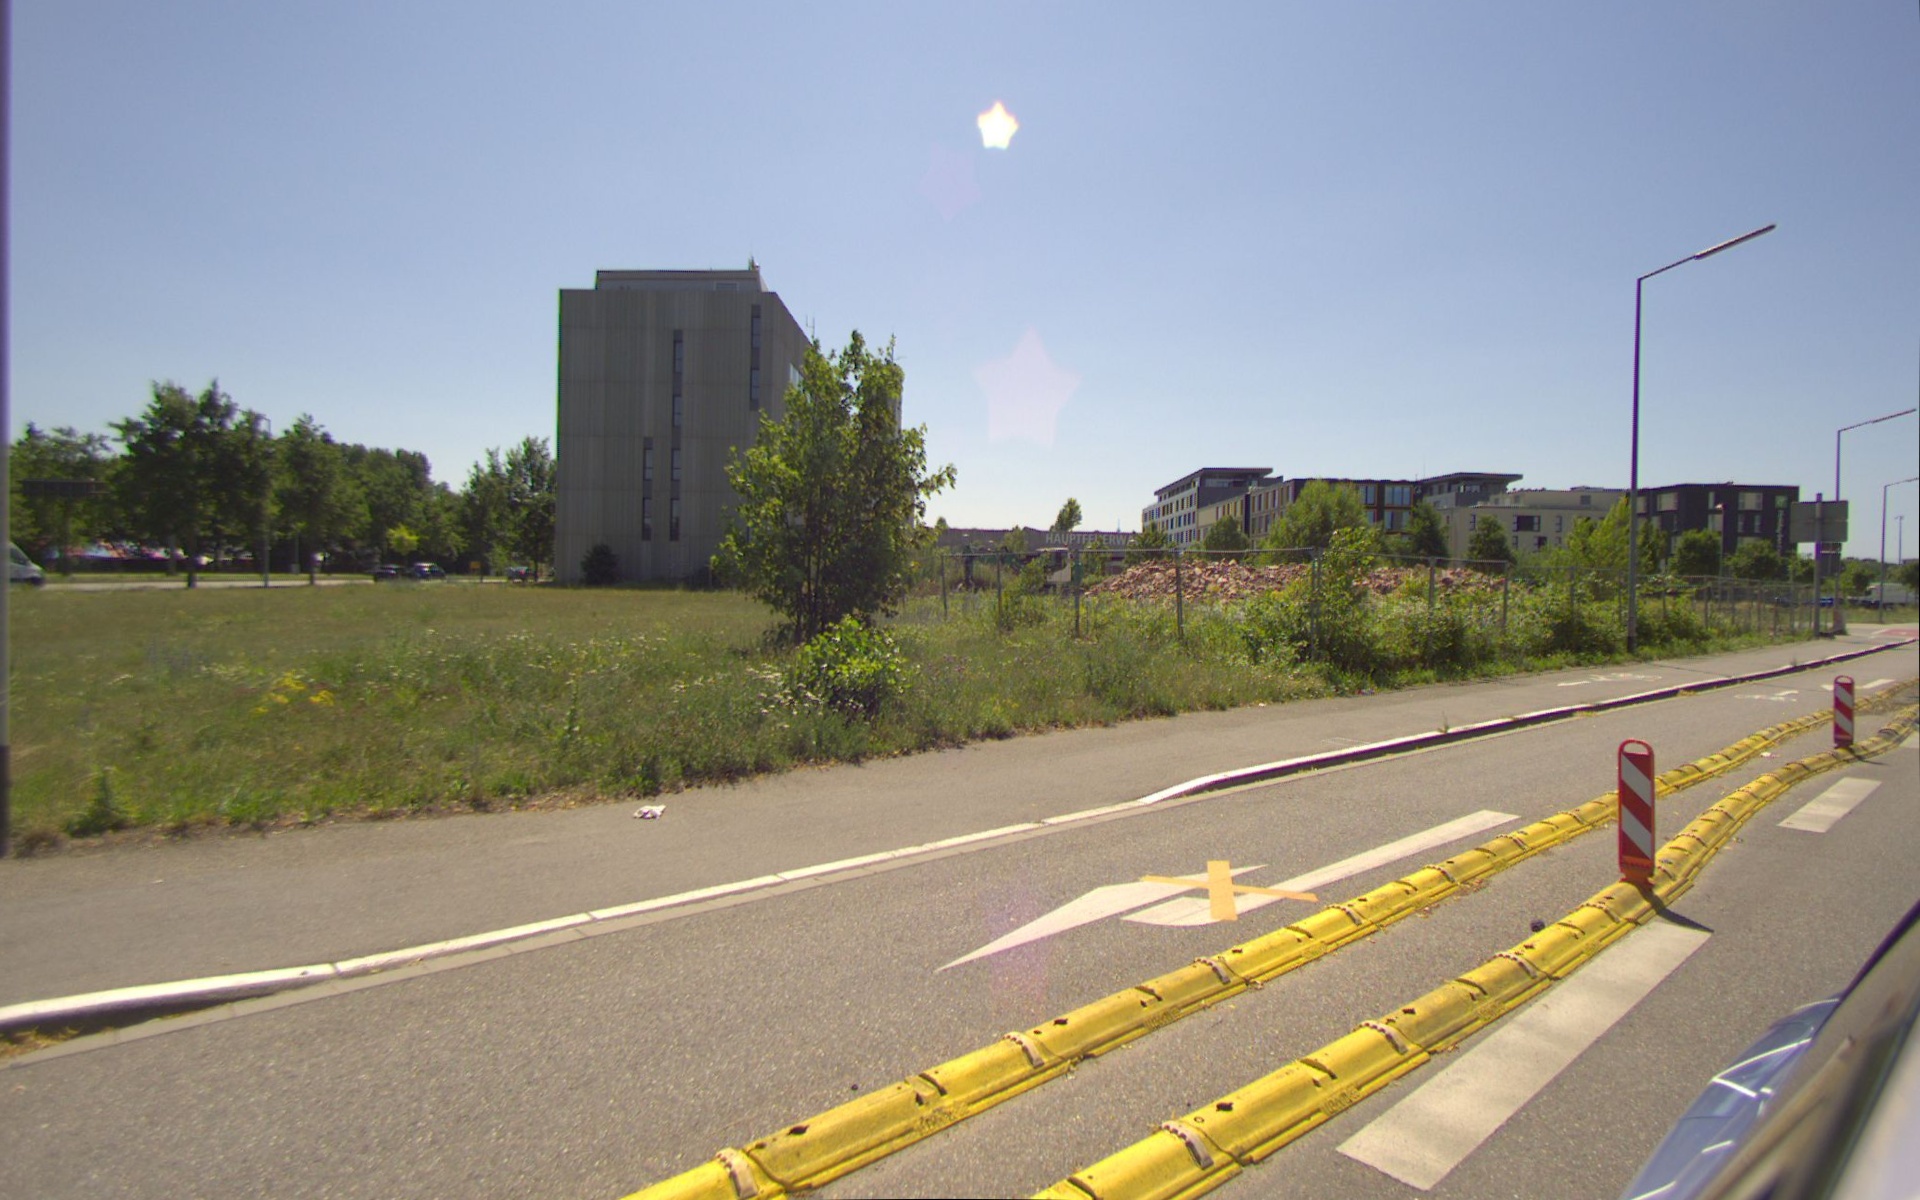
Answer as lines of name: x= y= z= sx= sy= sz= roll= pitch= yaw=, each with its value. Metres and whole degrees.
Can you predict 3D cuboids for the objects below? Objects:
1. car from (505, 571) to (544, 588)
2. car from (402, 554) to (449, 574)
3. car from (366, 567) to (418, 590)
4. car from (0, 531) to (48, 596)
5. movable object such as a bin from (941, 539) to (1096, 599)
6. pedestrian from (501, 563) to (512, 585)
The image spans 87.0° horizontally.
car: x=-44.678 y=-2.086 z=103.999 sx=1.963 sy=1.615 sz=4.418 roll=2 pitch=1 yaw=1
car: x=-48.024 y=-3.223 z=90.996 sx=1.961 sy=1.615 sz=4.422 roll=2 pitch=1 yaw=-3
car: x=-42.018 y=-1.570 z=74.945 sx=1.694 sy=1.571 sz=4.003 roll=3 pitch=0 yaw=-3
car: x=-43.045 y=-1.579 z=43.273 sx=1.962 sy=2.863 sz=6.885 roll=0 pitch=0 yaw=0
movable object such as a bin: x=3.116 y=-1.586 z=53.300 sx=7.537 sy=2.952 sz=3.242 roll=-1 pitch=0 yaw=-26
pedestrian: x=-33.477 y=-1.884 z=74.782 sx=0.652 sy=1.611 sz=0.557 roll=0 pitch=0 yaw=-15
